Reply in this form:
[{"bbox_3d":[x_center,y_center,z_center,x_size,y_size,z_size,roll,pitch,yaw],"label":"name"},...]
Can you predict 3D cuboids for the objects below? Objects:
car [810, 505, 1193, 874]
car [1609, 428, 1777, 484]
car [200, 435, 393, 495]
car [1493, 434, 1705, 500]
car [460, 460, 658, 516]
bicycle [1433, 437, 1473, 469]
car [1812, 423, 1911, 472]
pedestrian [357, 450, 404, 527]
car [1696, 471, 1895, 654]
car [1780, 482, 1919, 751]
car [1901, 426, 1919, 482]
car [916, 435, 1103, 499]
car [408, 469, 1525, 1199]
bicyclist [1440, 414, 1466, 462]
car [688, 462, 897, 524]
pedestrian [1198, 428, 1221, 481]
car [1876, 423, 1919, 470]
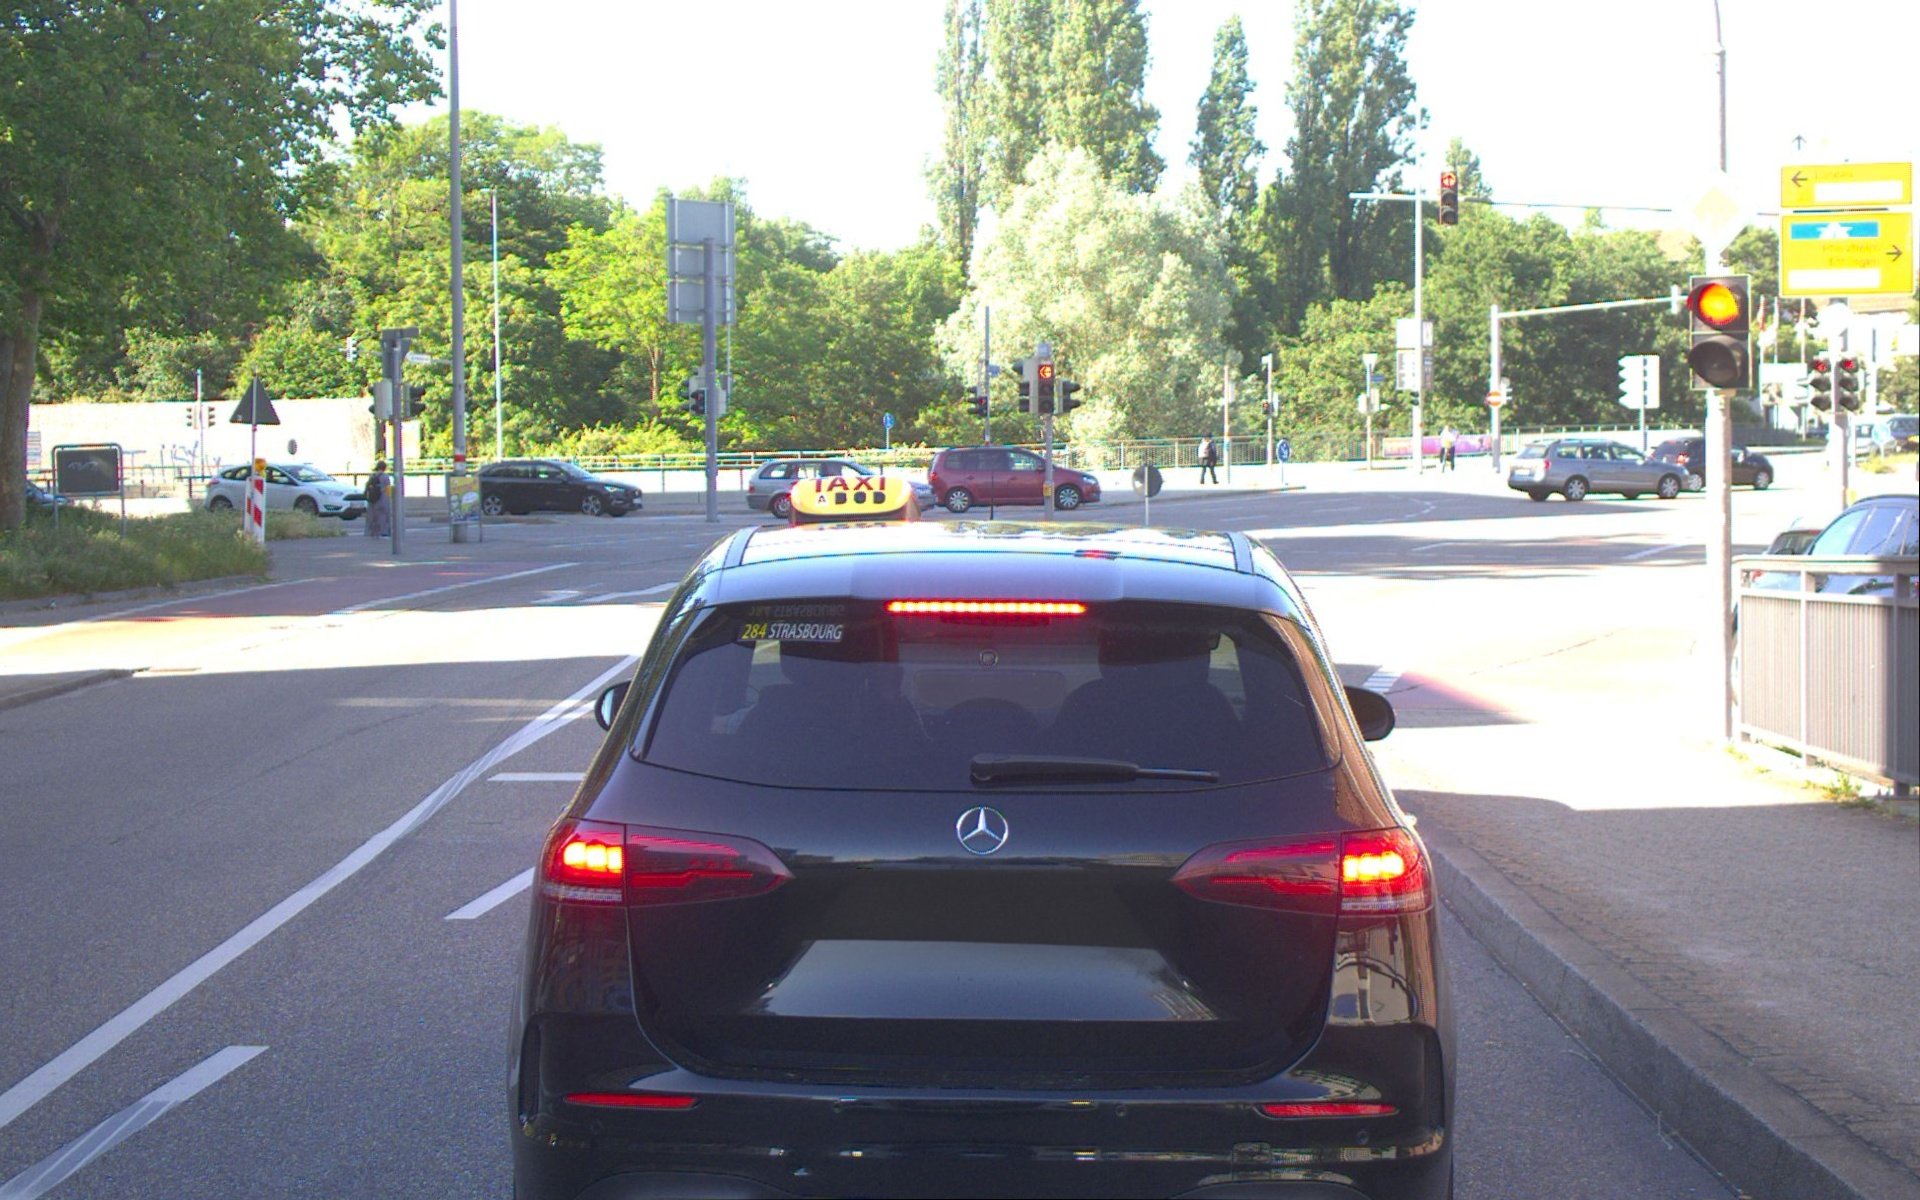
[{"bbox_3d":[0.233,0.346,16.730,1.640,1.524,3.474,-1,2,2],"label":"car"},{"bbox_3d":[19.269,-3.796,90.373,4.064,1.352,1.788,-3,4,-25],"label":"car"},{"bbox_3d":[-16.259,-3.299,84.258,4.307,1.360,1.997,0,4,27],"label":"car"},{"bbox_3d":[15.691,-3.289,84.447,4.806,1.436,2.001,-3,4,-23],"label":"car"},{"bbox_3d":[-10.103,-2.824,86.663,4.584,1.290,1.885,0,4,21],"label":"car"},{"bbox_3d":[16.399,-4.890,114.283,0.526,1.046,1.986,0,3,32],"label":"bicycle"},{"bbox_3d":[30.086,-5.106,114.665,1.882,1.573,3.992,1,3,36],"label":"car"},{"bbox_3d":[-11.464,-2.205,67.994,0.705,1.520,0.743,1,2,10],"label":"pedestrian"},{"bbox_3d":[8.490,-0.444,35.206,1.722,1.598,4.296,1,4,11],"label":"car"},{"bbox_3d":[7.376,0.058,25.170,1.721,1.806,4.298,1,2,1],"label":"car"},{"bbox_3d":[27.115,-3.892,90.332,4.280,1.436,2.001,-3,4,-23],"label":"car"},{"bbox_3d":[1.206,-3.297,84.998,4.537,1.450,2.000,-1,3,0],"label":"car"},{"bbox_3d":[-0.015,0.541,7.844,1.878,1.608,4.000,1,2,-1],"label":"car"},{"bbox_3d":[16.396,-5.383,114.253,0.526,1.545,0.805,0,3,33],"label":"bicyclist"},{"bbox_3d":[-3.899,-2.506,80.353,4.580,1.290,2.000,-1,3,7],"label":"car"},{"bbox_3d":[7.516,-4.388,103.587,0.451,1.580,0.500,1,3,40],"label":"pedestrian"},{"bbox_3d":[33.576,-5.370,119.818,1.882,1.573,3.992,1,3,36],"label":"car"}]
